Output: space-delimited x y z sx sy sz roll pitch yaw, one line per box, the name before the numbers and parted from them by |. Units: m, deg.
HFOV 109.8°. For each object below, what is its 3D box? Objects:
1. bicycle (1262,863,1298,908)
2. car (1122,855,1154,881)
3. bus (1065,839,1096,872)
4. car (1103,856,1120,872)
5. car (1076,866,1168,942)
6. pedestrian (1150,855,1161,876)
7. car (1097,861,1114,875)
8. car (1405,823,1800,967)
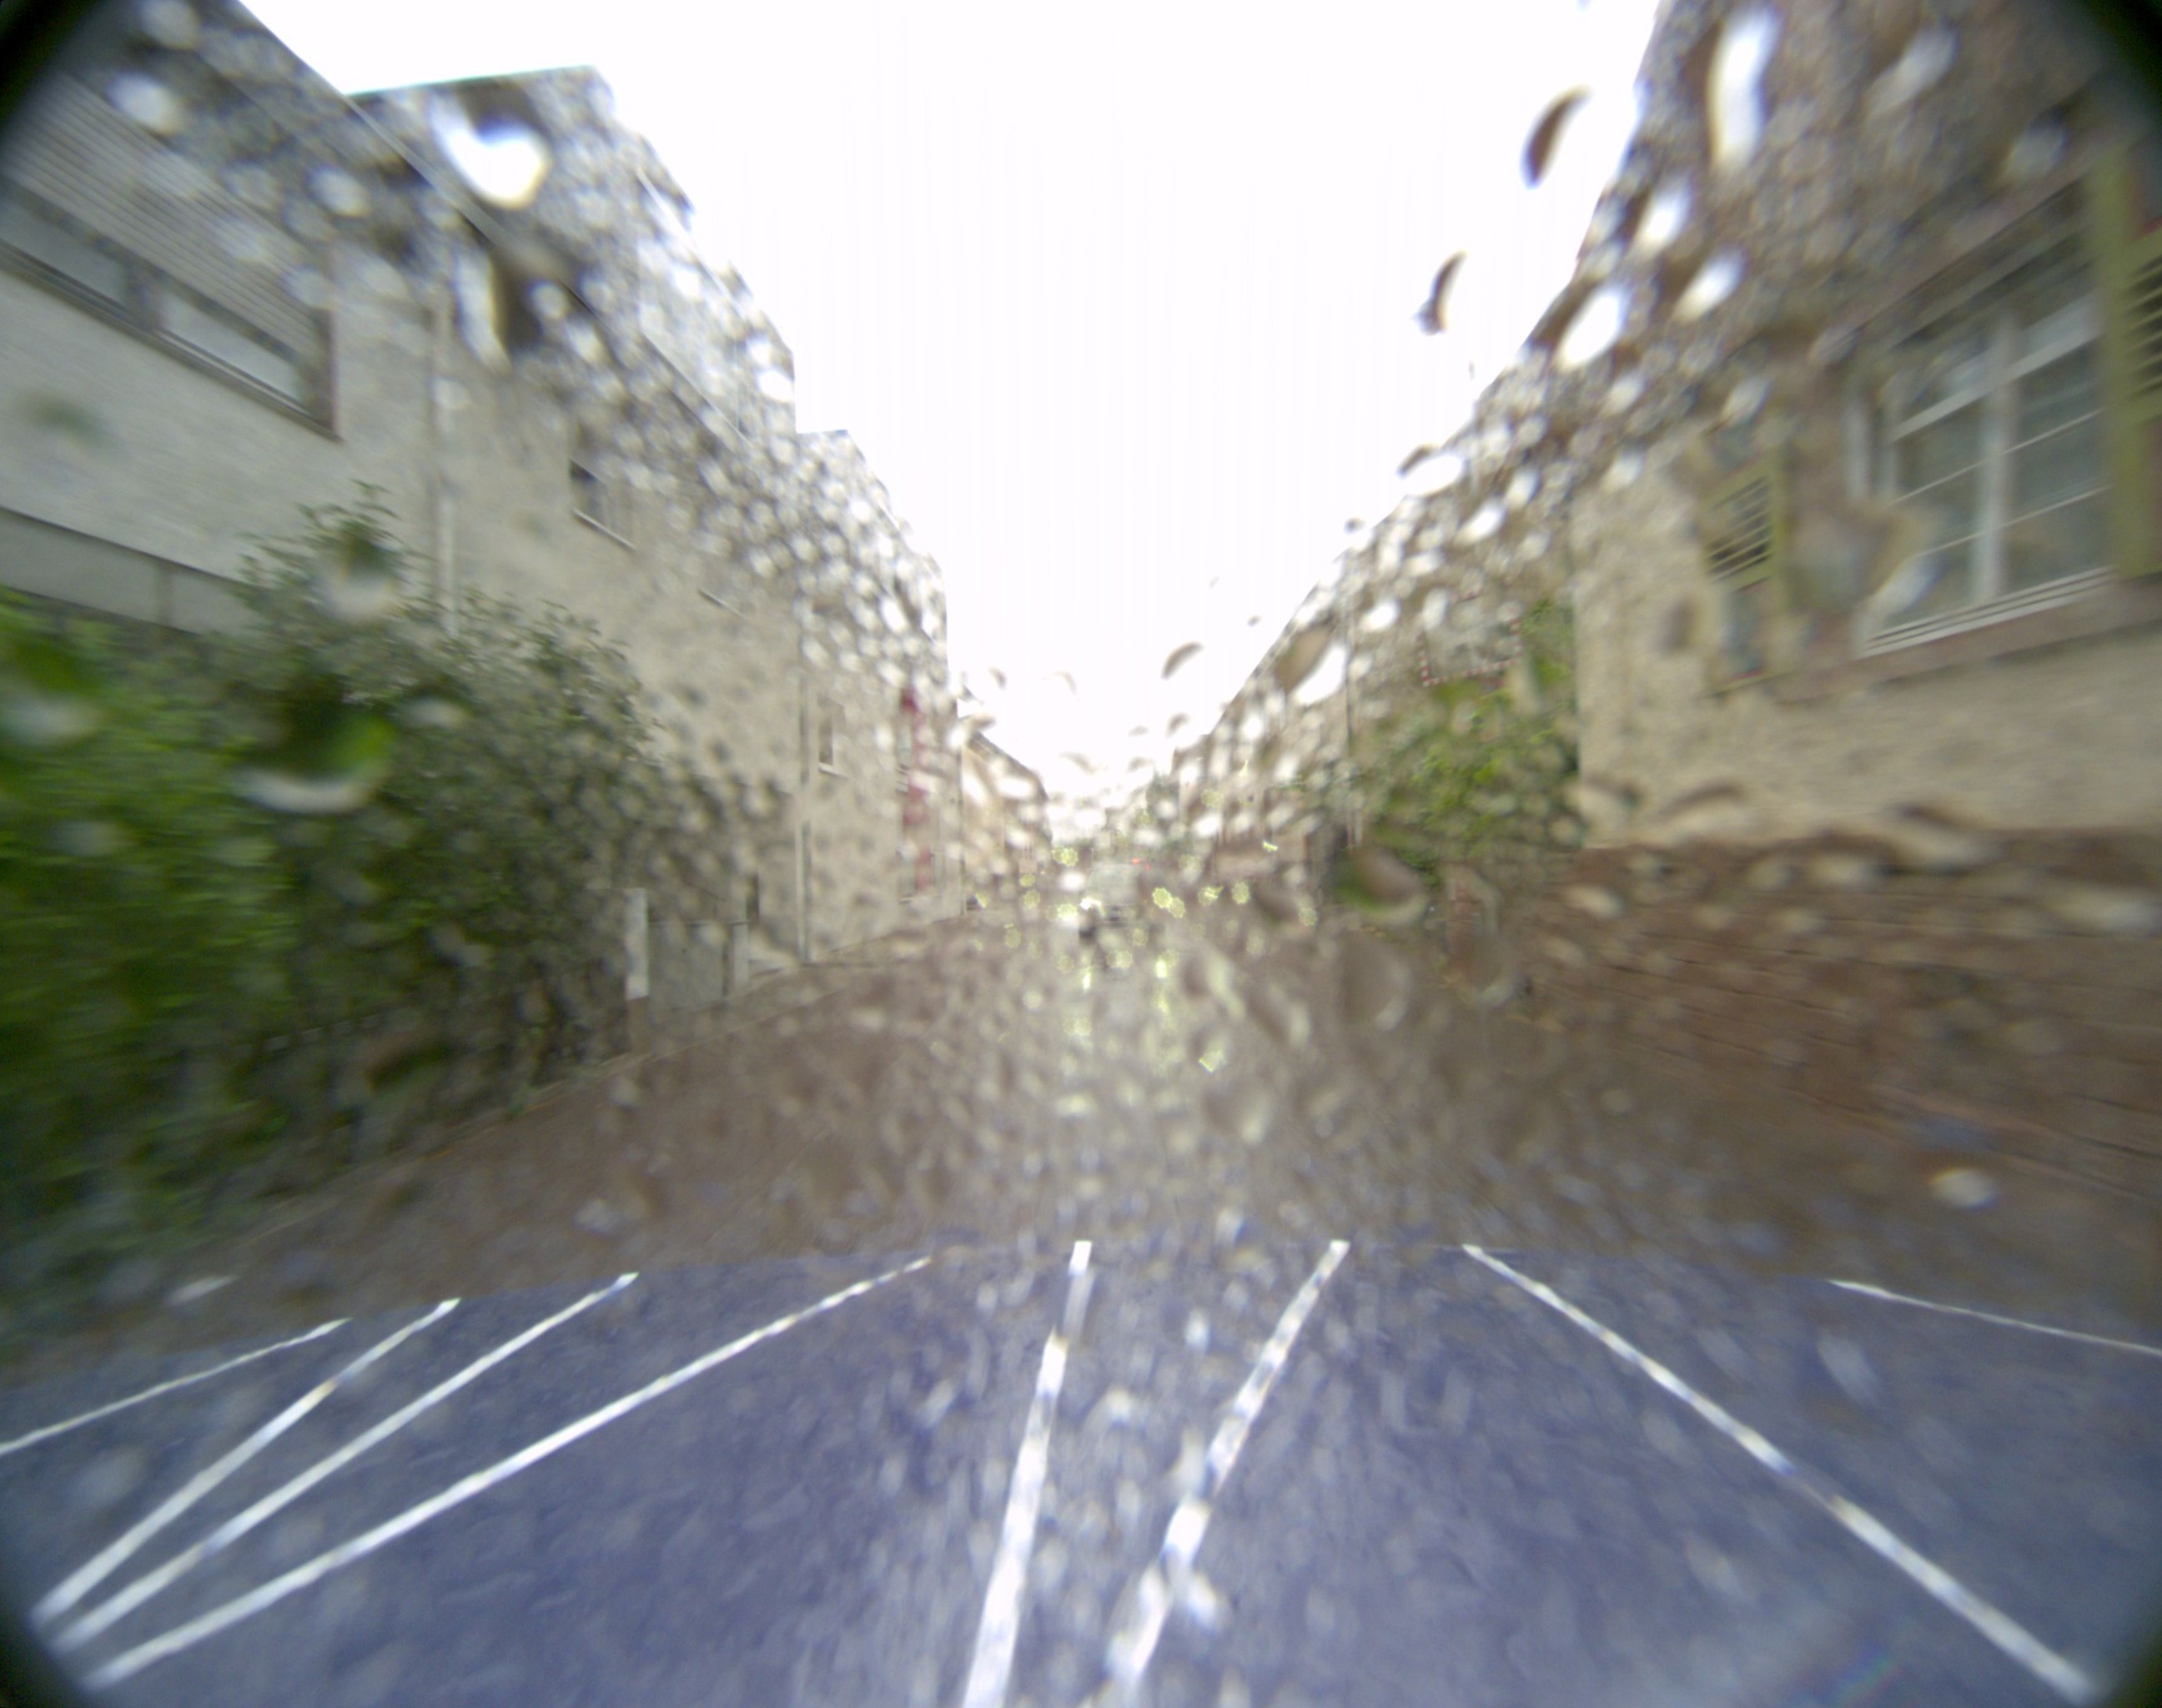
bicycle | 5.590 0.867 21.428 0.483 1.171 1.874 -4 -1 0
car | 3.795 0.909 51.260 1.837 1.546 4.239 -1 1 0
bus | -0.180 0.117 81.323 2.669 3.213 12.187 -1 0 -3
car | 3.091 0.998 77.040 1.608 1.504 3.688 -2 0 1
car | 0.903 1.016 16.890 1.738 1.362 4.103 -2 0 3
pedestrian | 5.565 0.871 56.888 0.573 1.529 0.833 -4 0 -3
car | 2.768 1.538 86.153 1.700 1.500 4.341 0 0 0
car | 6.833 0.539 10.390 3.995 1.417 1.737 -6 0 9
